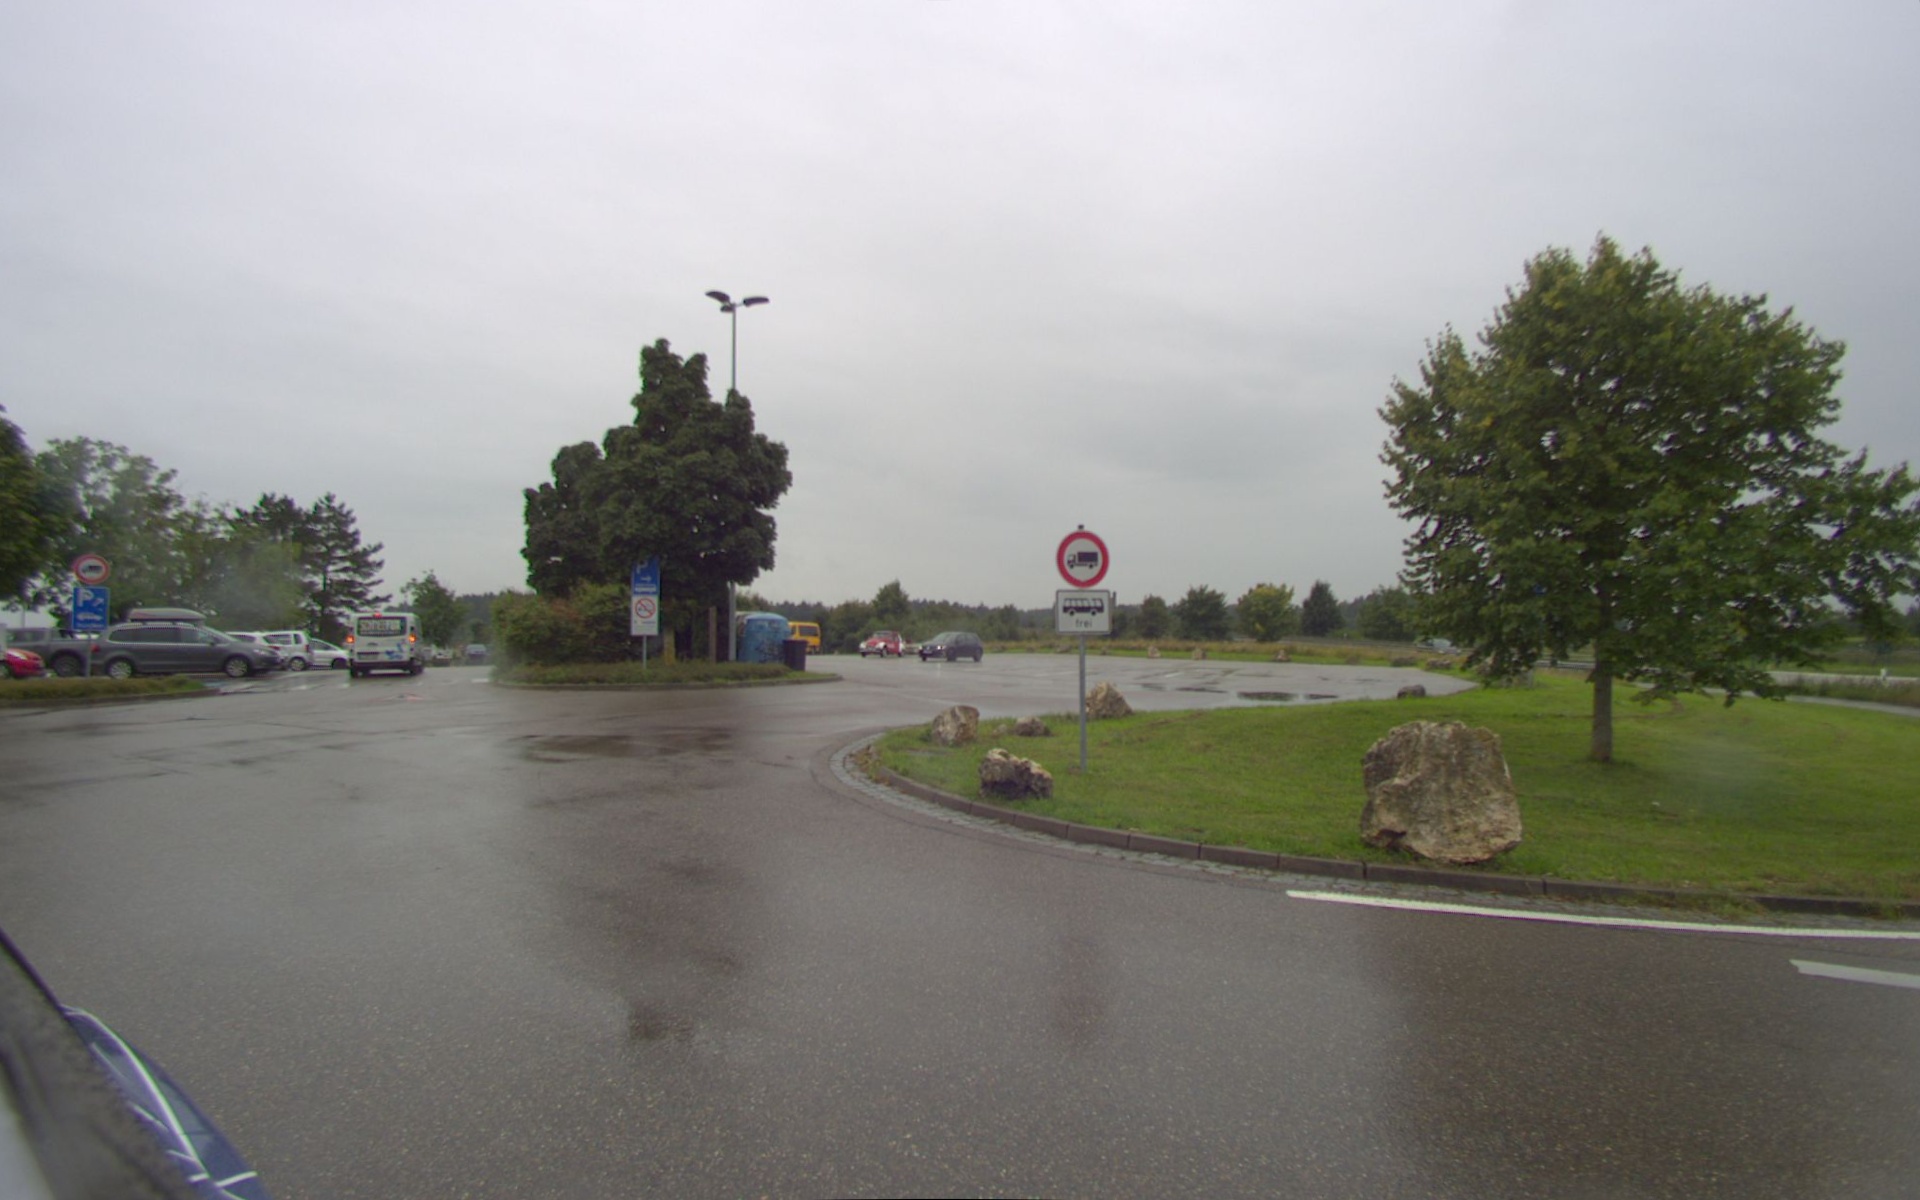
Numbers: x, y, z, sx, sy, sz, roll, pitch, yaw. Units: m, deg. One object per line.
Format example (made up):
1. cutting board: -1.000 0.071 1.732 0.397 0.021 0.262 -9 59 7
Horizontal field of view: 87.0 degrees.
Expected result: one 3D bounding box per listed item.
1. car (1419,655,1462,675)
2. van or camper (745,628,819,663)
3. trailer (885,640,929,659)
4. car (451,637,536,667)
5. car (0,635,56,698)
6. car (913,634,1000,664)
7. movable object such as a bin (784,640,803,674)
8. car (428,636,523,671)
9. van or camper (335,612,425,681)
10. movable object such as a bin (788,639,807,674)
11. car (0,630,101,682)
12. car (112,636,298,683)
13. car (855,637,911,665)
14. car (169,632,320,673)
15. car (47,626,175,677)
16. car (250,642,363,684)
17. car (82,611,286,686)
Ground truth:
1. car: 37.648 5.085 79.390 1.565 1.464 3.754 1 -3 1
2. van or camper: -12.111 3.144 69.539 2.119 2.264 6.375 0 -3 20
3. trailer: -3.211 3.034 61.640 1.579 1.075 3.007 -1 -4 23
4. car: -24.816 2.766 53.932 4.023 1.508 1.772 1 -2 -24
5. car: -31.176 2.048 31.368 4.325 1.900 1.931 1 -2 -27
6. car: -0.163 2.461 50.903 4.007 1.444 1.785 2 -3 -27
7. movable object such as a bin: -4.581 1.554 27.866 0.443 0.924 0.489 1 -2 -4
8. car: -23.233 2.547 48.622 4.023 1.641 1.792 1 -2 -24
9. van or camper: -18.806 1.428 33.055 2.157 1.960 5.215 1 0 -26
10. movable object such as a bin: -4.388 1.522 27.343 0.443 0.946 0.489 1 -2 -4
11. car: -33.722 1.993 36.118 4.325 1.792 1.931 1 -2 -27
12. car: -25.266 1.960 34.089 4.685 1.483 1.892 1 -2 -24
13. car: -4.411 2.934 58.231 1.540 1.567 4.025 0 -3 23
14. car: -29.070 2.105 41.321 4.685 1.599 2.006 1 -2 -24
15. car: -35.040 2.094 41.897 3.720 2.029 1.792 1 -2 -28
16. car: -34.279 3.289 53.236 4.685 2.097 2.006 1 -2 -24
17. car: -24.048 1.491 31.616 4.685 2.205 2.006 1 -2 -24
